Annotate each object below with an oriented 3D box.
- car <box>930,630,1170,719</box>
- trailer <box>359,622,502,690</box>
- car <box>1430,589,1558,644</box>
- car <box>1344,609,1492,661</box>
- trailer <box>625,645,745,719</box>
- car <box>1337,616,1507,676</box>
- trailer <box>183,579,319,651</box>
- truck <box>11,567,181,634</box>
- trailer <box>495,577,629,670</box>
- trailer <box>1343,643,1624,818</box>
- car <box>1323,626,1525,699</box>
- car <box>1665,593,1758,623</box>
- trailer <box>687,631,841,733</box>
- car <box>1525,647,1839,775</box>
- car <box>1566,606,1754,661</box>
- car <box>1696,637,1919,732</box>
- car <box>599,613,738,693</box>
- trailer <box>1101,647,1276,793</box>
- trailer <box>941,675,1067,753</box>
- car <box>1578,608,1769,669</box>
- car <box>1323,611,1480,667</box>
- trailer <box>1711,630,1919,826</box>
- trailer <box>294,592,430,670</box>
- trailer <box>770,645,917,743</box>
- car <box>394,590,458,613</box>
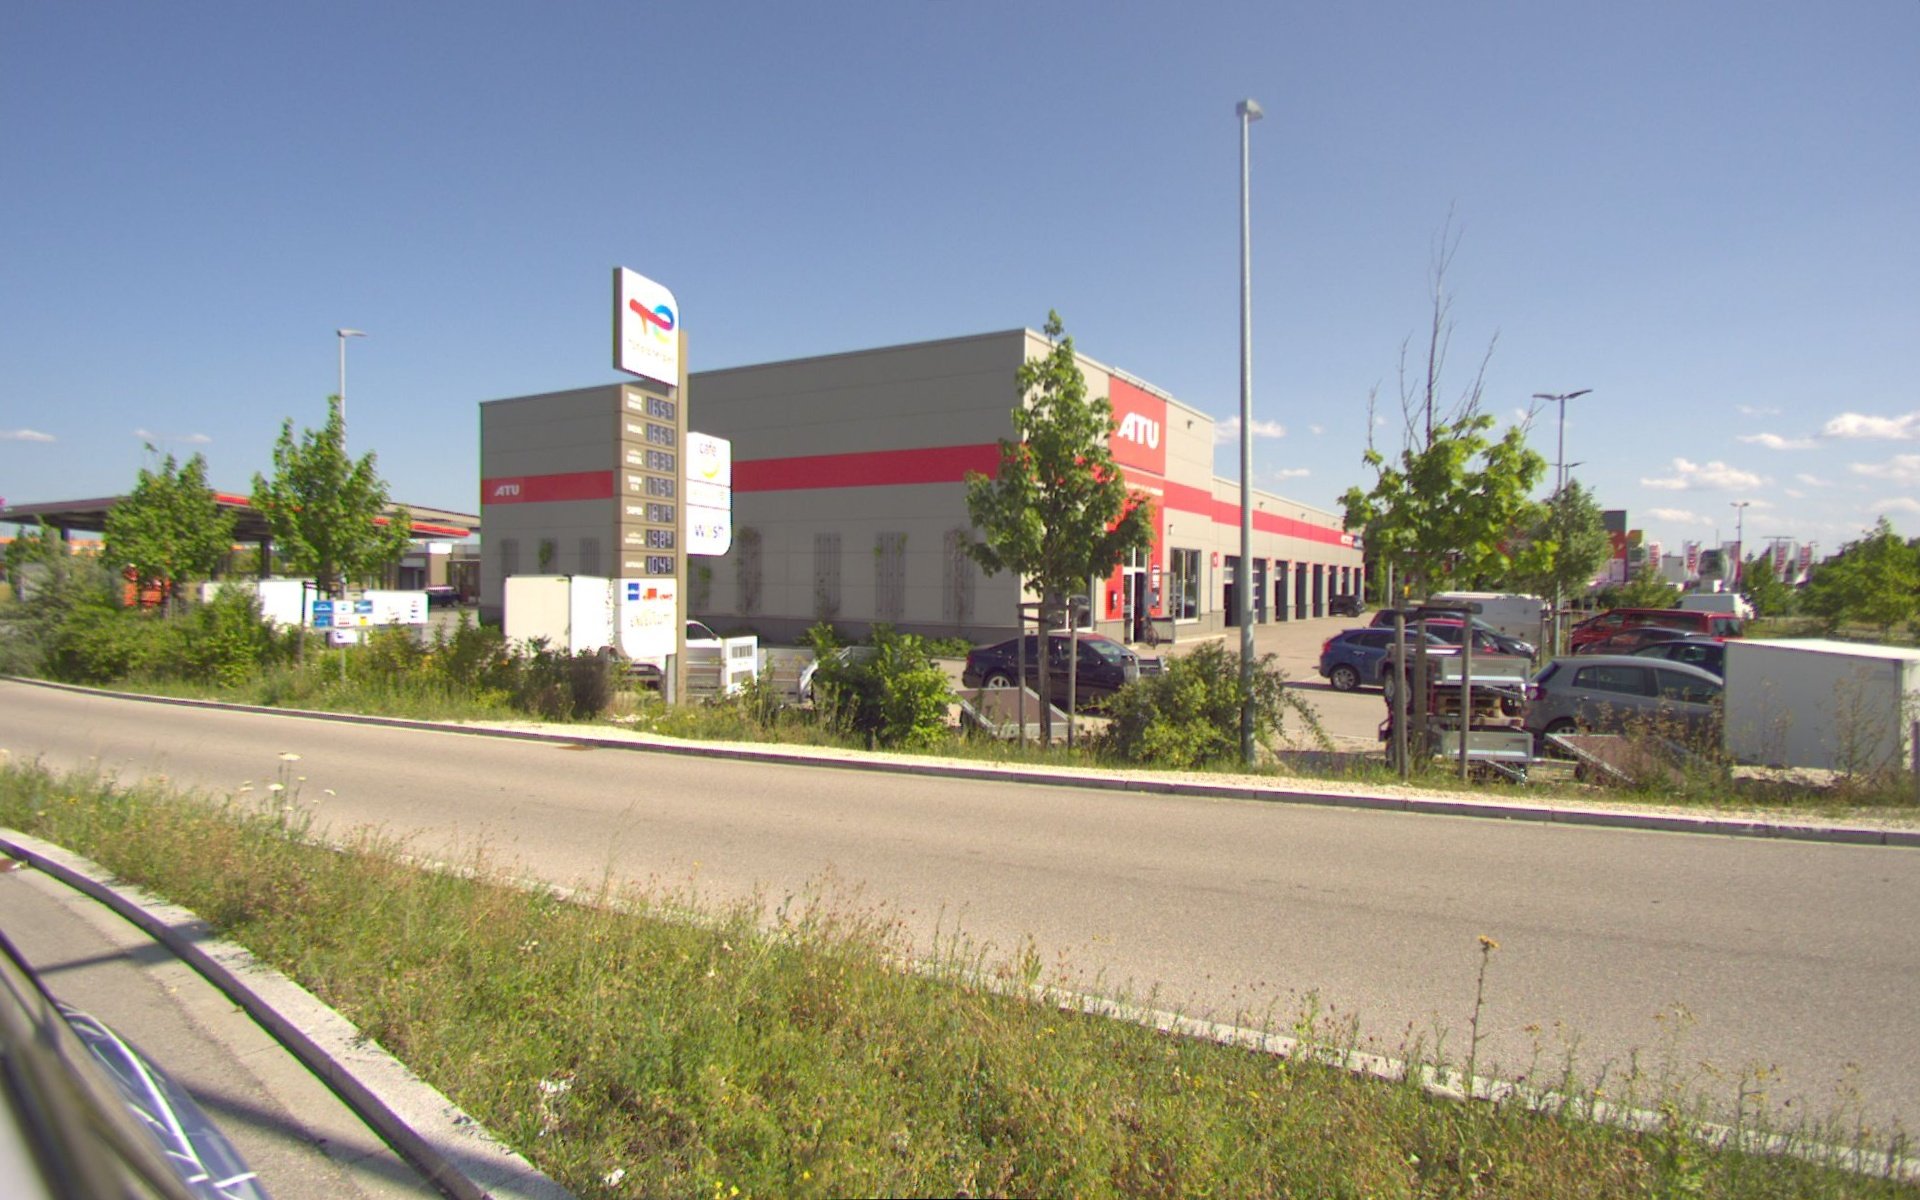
[{"bbox_3d":[1.735,1.400,20.261,4.487,1.495,1.782,-1,1,35],"label":"car"},{"bbox_3d":[-13.927,1.423,26.836,1.581,1.521,3.592,-1,1,7],"label":"trailer"},{"bbox_3d":[20.912,0.628,39.641,4.333,2.029,1.884,0,1,31],"label":"car"},{"bbox_3d":[14.361,1.054,31.780,3.991,1.475,1.804,0,1,35],"label":"car"},{"bbox_3d":[-4.985,1.469,18.634,1.304,1.094,2.772,-1,1,4],"label":"trailer"},{"bbox_3d":[12.649,1.207,27.784,3.991,1.475,1.804,0,1,35],"label":"car"},{"bbox_3d":[-21.109,0.407,30.288,1.970,2.029,3.210,-1,1,-5],"label":"trailer"},{"bbox_3d":[-46.129,-0.011,54.332,2.612,3.343,6.887,-1,1,9],"label":"truck"},{"bbox_3d":[-9.230,0.495,23.723,1.725,2.029,3.237,-1,1,3],"label":"trailer"},{"bbox_3d":[6.693,1.570,13.429,1.782,1.785,3.696,-1,1,0],"label":"trailer"},{"bbox_3d":[10.386,1.344,22.696,3.984,1.475,1.806,0,-2,30],"label":"car"},{"bbox_3d":[60.834,0.597,82.103,2.006,2.251,6.290,-1,1,-12],"label":"car"},{"bbox_3d":[-3.391,1.380,18.078,1.533,1.495,3.178,-1,1,13],"label":"trailer"},{"bbox_3d":[10.835,1.588,15.500,3.732,1.563,1.725,0,1,33],"label":"car"},{"bbox_3d":[21.354,0.958,31.112,1.794,1.475,4.470,-1,1,-24],"label":"car"},{"bbox_3d":[17.668,1.618,20.533,1.793,1.475,4.014,1,2,-24],"label":"car"},{"bbox_3d":[-6.482,1.130,22.975,1.697,1.548,3.994,-1,1,5],"label":"car"},{"bbox_3d":[3.161,1.611,14.686,1.684,1.462,3.697,-1,3,0],"label":"trailer"},{"bbox_3d":[0.693,1.785,16.309,1.841,0.888,2.836,-1,1,2],"label":"trailer"},{"bbox_3d":[19.847,1.007,28.337,1.794,1.475,4.013,-1,1,-24],"label":"car"},{"bbox_3d":[13.028,1.107,29.912,3.991,1.475,1.804,0,1,35],"label":"car"},{"bbox_3d":[10.776,1.377,11.445,1.782,1.785,3.697,-1,2,0],"label":"trailer"},{"bbox_3d":[-16.397,0.809,27.890,1.976,2.029,2.731,-1,1,7],"label":"trailer"},{"bbox_3d":[-1.888,1.521,17.155,1.378,1.332,2.894,-1,1,18],"label":"trailer"},{"bbox_3d":[-37.609,0.100,71.310,1.695,1.586,3.636,0,1,40],"label":"car"}]
